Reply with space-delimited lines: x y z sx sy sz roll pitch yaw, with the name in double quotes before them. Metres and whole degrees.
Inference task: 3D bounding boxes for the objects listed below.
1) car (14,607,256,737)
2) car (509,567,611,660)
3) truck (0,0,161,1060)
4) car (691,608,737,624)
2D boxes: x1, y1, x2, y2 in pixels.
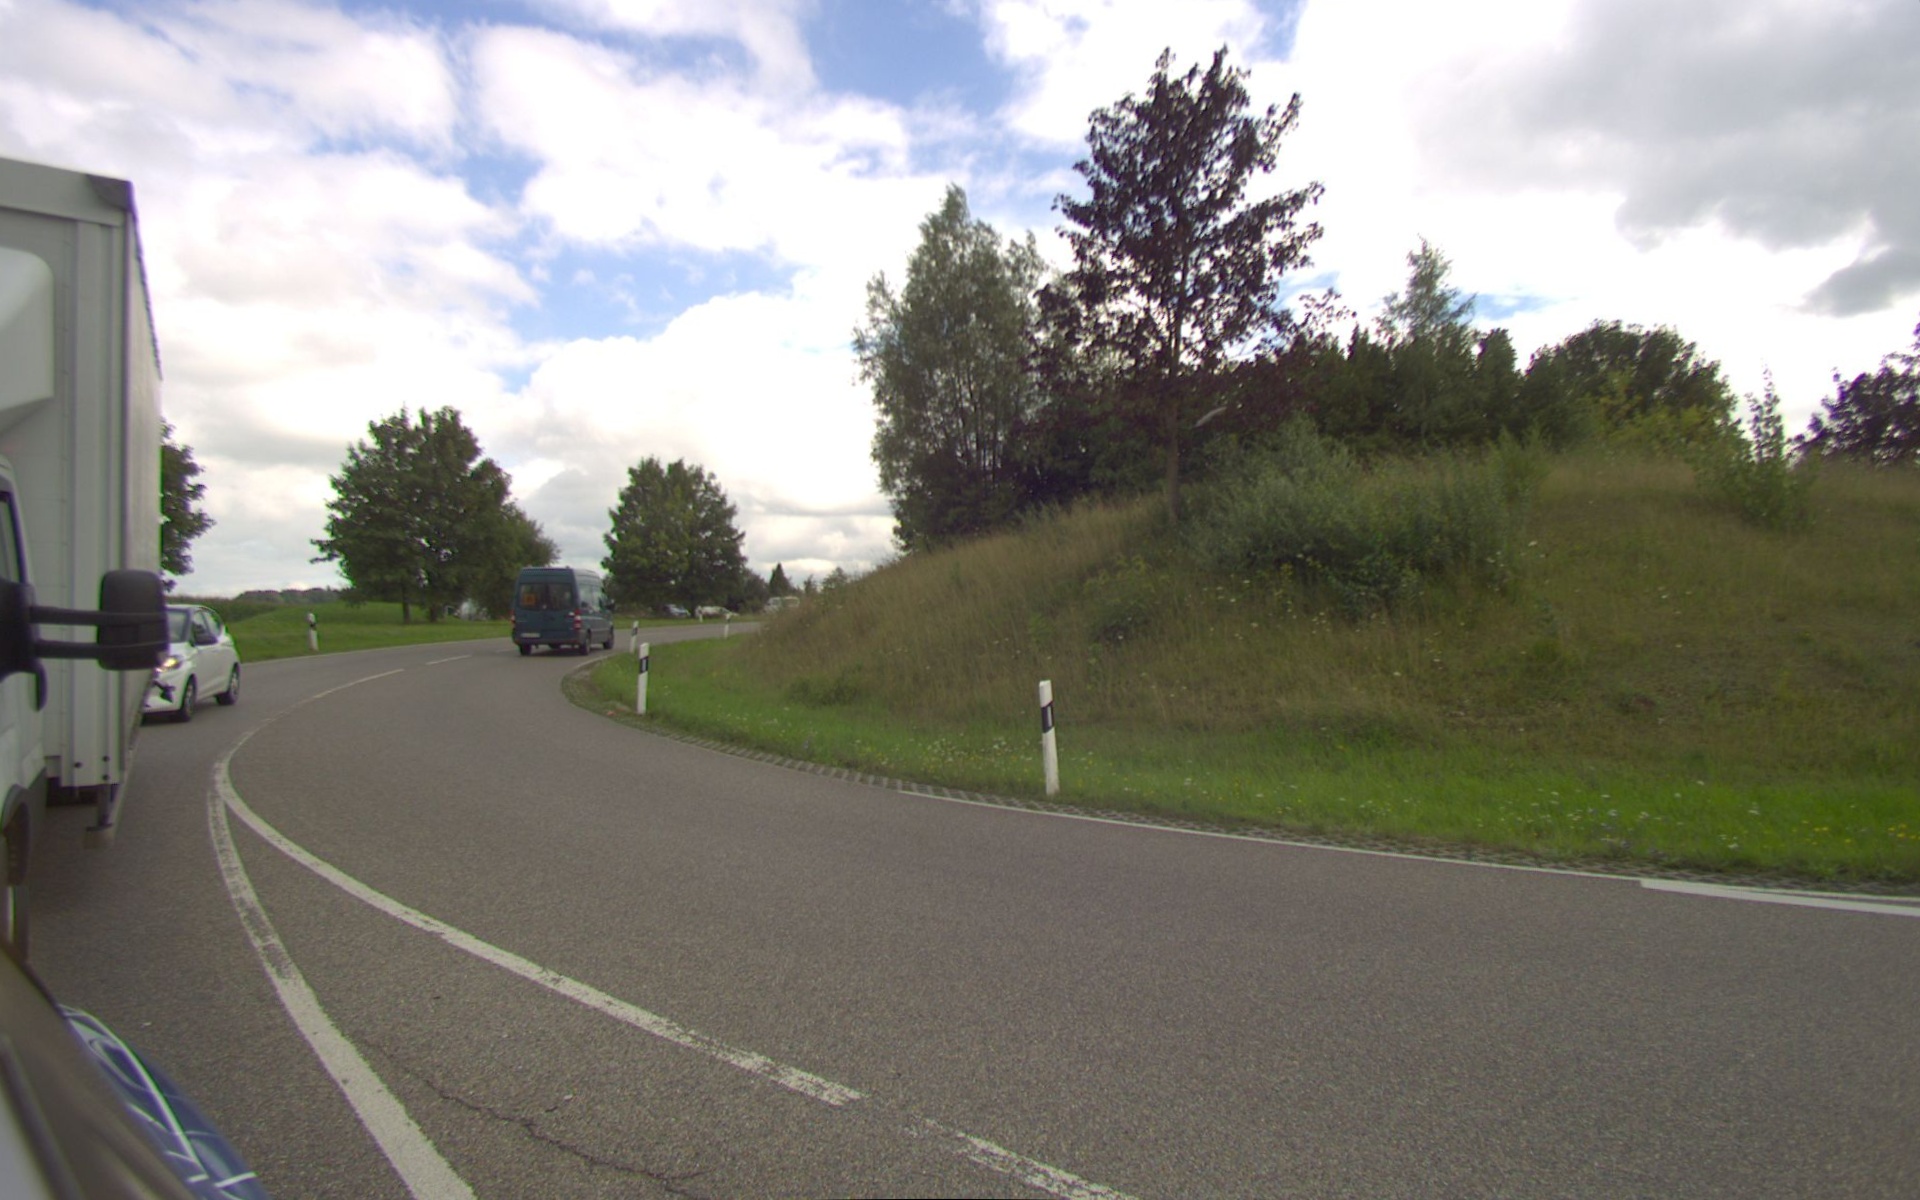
"car" -11.205 0.894 14.060 1.721 1.477 4.013 -1 -1 -26
"car" -12.328 0.441 31.527 1.967 2.650 5.133 1 -1 -11
"truck" -6.308 -0.500 5.679 2.793 3.792 8.817 1 -2 -38
"car" -25.625 1.676 105.371 4.328 1.597 2.007 -1 -1 -23
